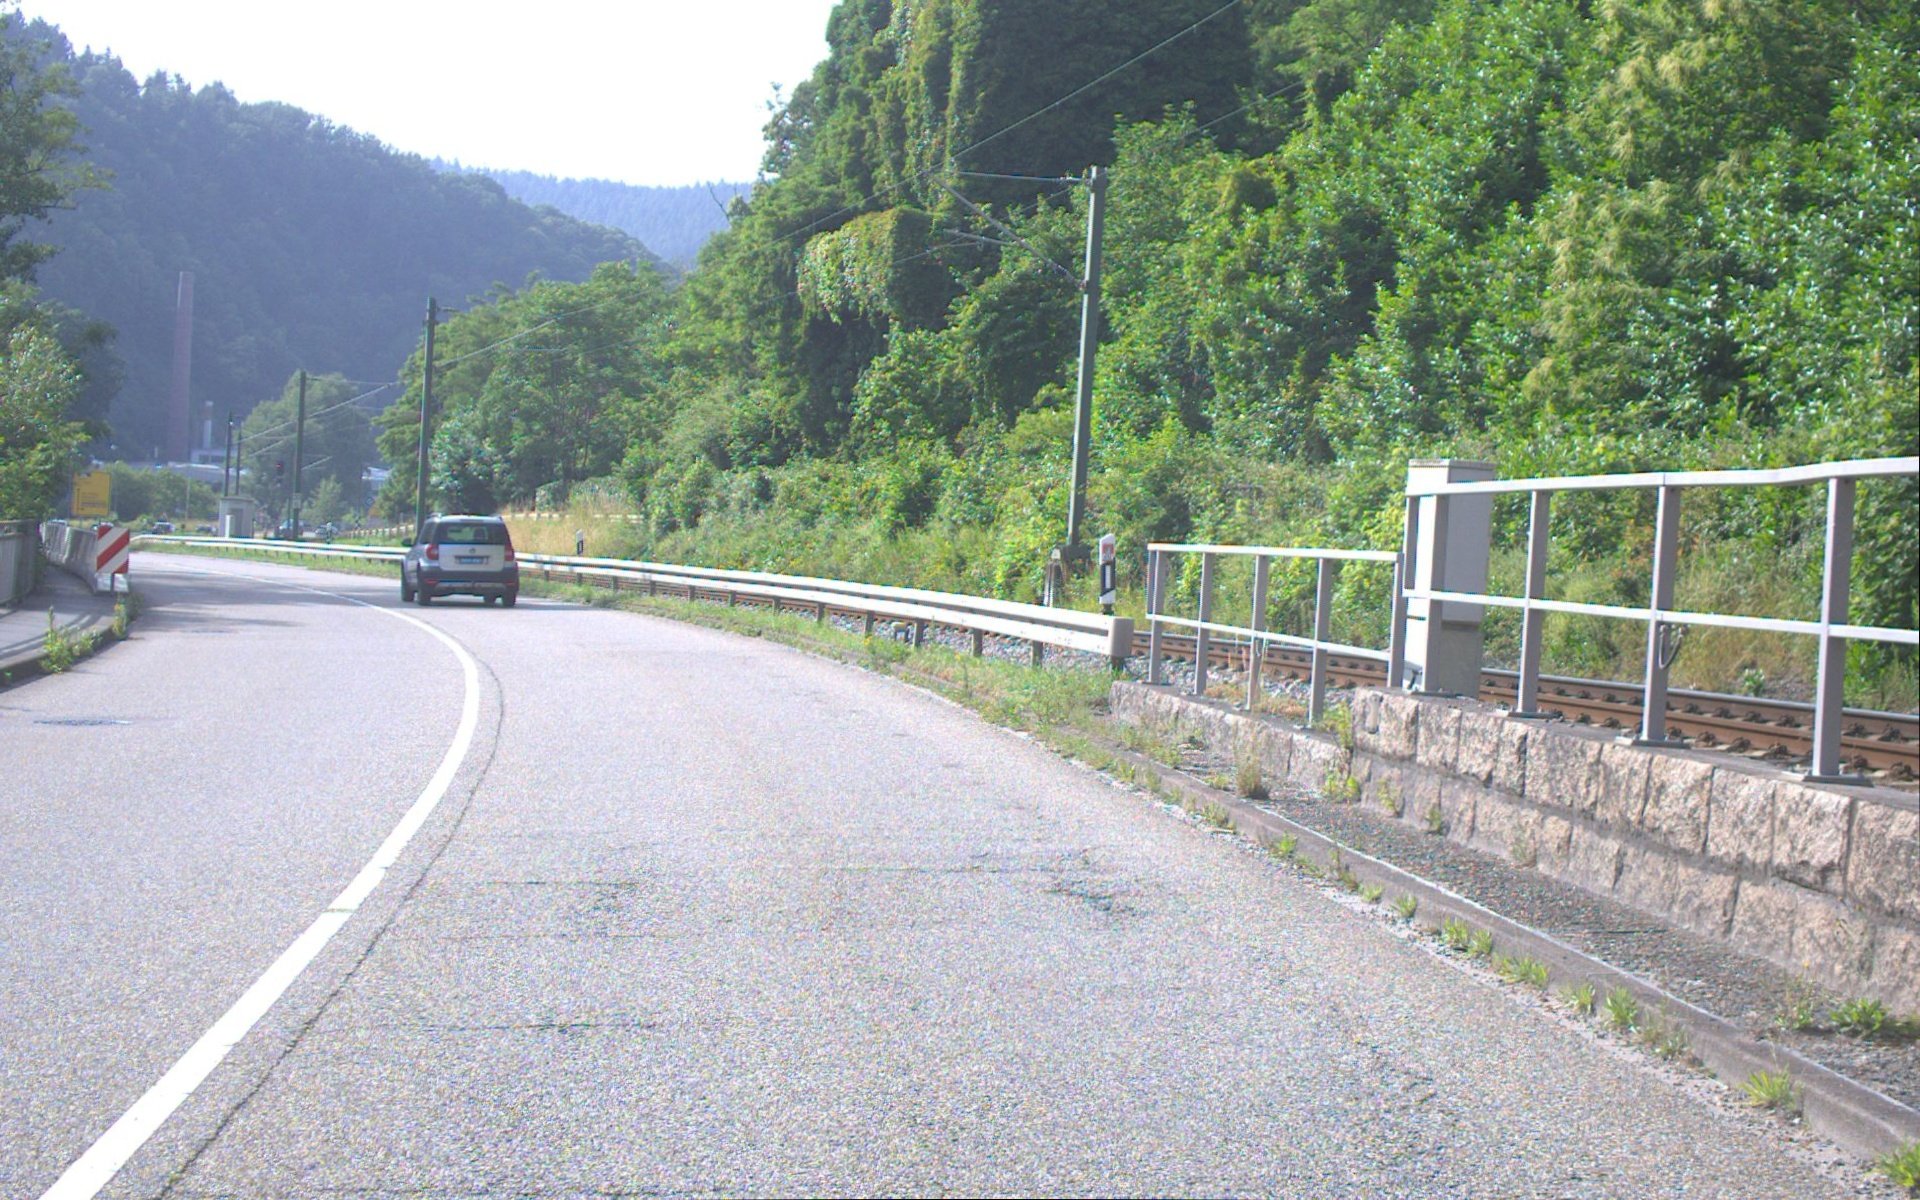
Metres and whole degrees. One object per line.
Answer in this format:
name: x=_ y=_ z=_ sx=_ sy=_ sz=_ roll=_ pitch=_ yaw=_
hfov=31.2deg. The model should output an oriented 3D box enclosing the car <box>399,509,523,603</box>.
car: x=-9.191 y=-0.819 z=63.104 sx=1.872 sy=1.650 sz=4.001 roll=1 pitch=1 yaw=-13
